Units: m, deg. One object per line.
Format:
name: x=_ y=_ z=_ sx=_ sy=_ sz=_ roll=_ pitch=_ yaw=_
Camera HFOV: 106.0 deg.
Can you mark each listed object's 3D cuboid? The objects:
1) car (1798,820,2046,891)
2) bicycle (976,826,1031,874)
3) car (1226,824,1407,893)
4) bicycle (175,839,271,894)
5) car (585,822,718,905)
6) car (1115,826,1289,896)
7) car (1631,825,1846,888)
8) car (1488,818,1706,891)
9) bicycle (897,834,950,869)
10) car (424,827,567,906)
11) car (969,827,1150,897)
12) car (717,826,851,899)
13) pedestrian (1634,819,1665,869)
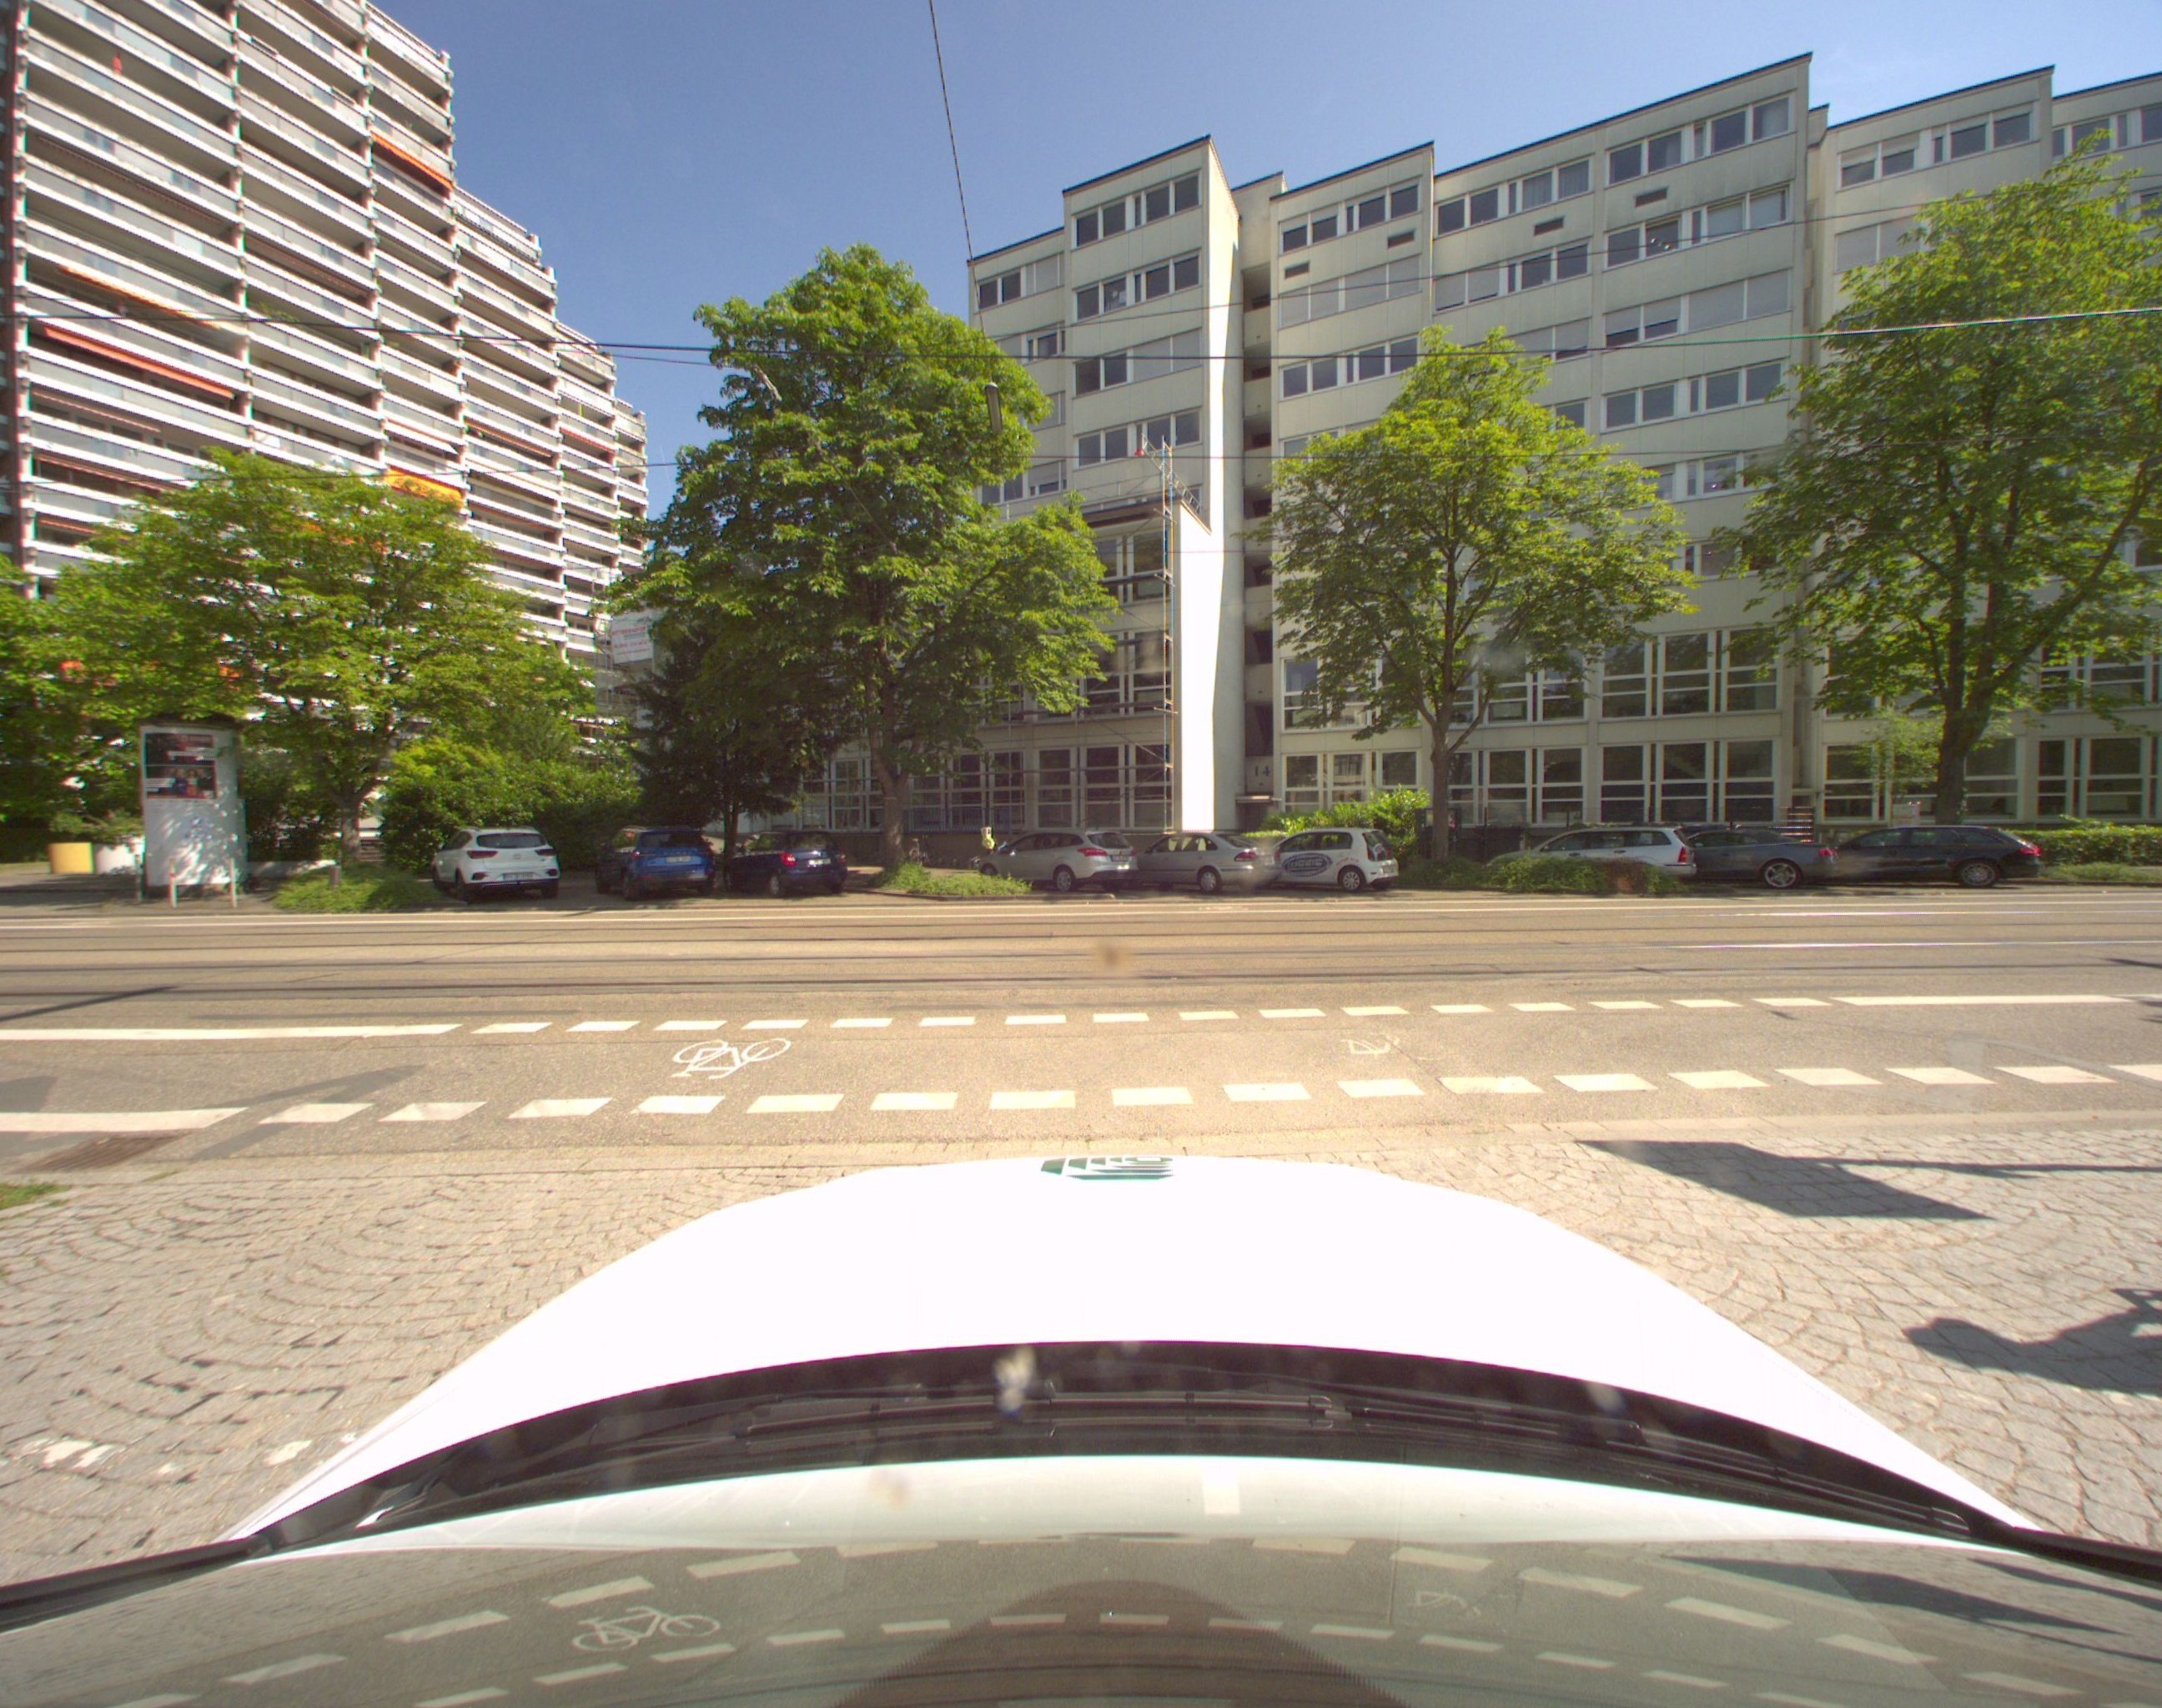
car: x=19.427 y=-0.022 z=19.059 sx=3.896 sy=1.486 sz=1.568 roll=1 pitch=2 yaw=44
bicycle: x=-2.463 y=-0.149 z=26.104 sx=0.655 sy=1.453 sz=2.103 roll=0 pitch=2 yaw=30
car: x=5.600 y=0.085 z=19.678 sx=1.623 sy=1.486 sz=3.896 roll=-2 pitch=2 yaw=-45
bicycle: x=-21.008 y=0.299 z=19.956 sx=1.614 sy=1.308 sz=0.546 roll=-1 pitch=1 yaw=-7
car: x=-10.034 y=0.118 z=18.903 sx=1.790 sy=1.622 sz=3.899 roll=-3 pitch=4 yaw=-42
car: x=2.793 y=0.098 z=19.389 sx=1.622 sy=1.486 sz=3.897 roll=-2 pitch=2 yaw=-44
car: x=15.698 y=0.010 z=19.564 sx=3.896 sy=1.357 sz=1.568 roll=1 pitch=2 yaw=44
car: x=12.402 y=-0.024 z=19.745 sx=4.289 sy=1.604 sz=1.568 roll=1 pitch=1 yaw=41
bicycle: x=-5.191 y=-0.094 z=26.968 sx=0.735 sy=1.085 sz=2.214 roll=0 pitch=2 yaw=18
car: x=-13.453 y=0.208 z=18.635 sx=3.895 sy=1.606 sz=1.831 roll=1 pitch=2 yaw=42
car: x=-0.609 y=0.121 z=19.591 sx=4.380 sy=1.486 sz=1.795 roll=1 pitch=2 yaw=44
car: x=-6.970 y=0.132 z=18.976 sx=3.415 sy=1.530 sz=1.586 roll=1 pitch=2 yaw=44
pedestrian: x=16.639 y=-0.298 z=23.836 sx=0.618 sy=1.460 sz=0.424 roll=-1 pitch=1 yaw=-4
